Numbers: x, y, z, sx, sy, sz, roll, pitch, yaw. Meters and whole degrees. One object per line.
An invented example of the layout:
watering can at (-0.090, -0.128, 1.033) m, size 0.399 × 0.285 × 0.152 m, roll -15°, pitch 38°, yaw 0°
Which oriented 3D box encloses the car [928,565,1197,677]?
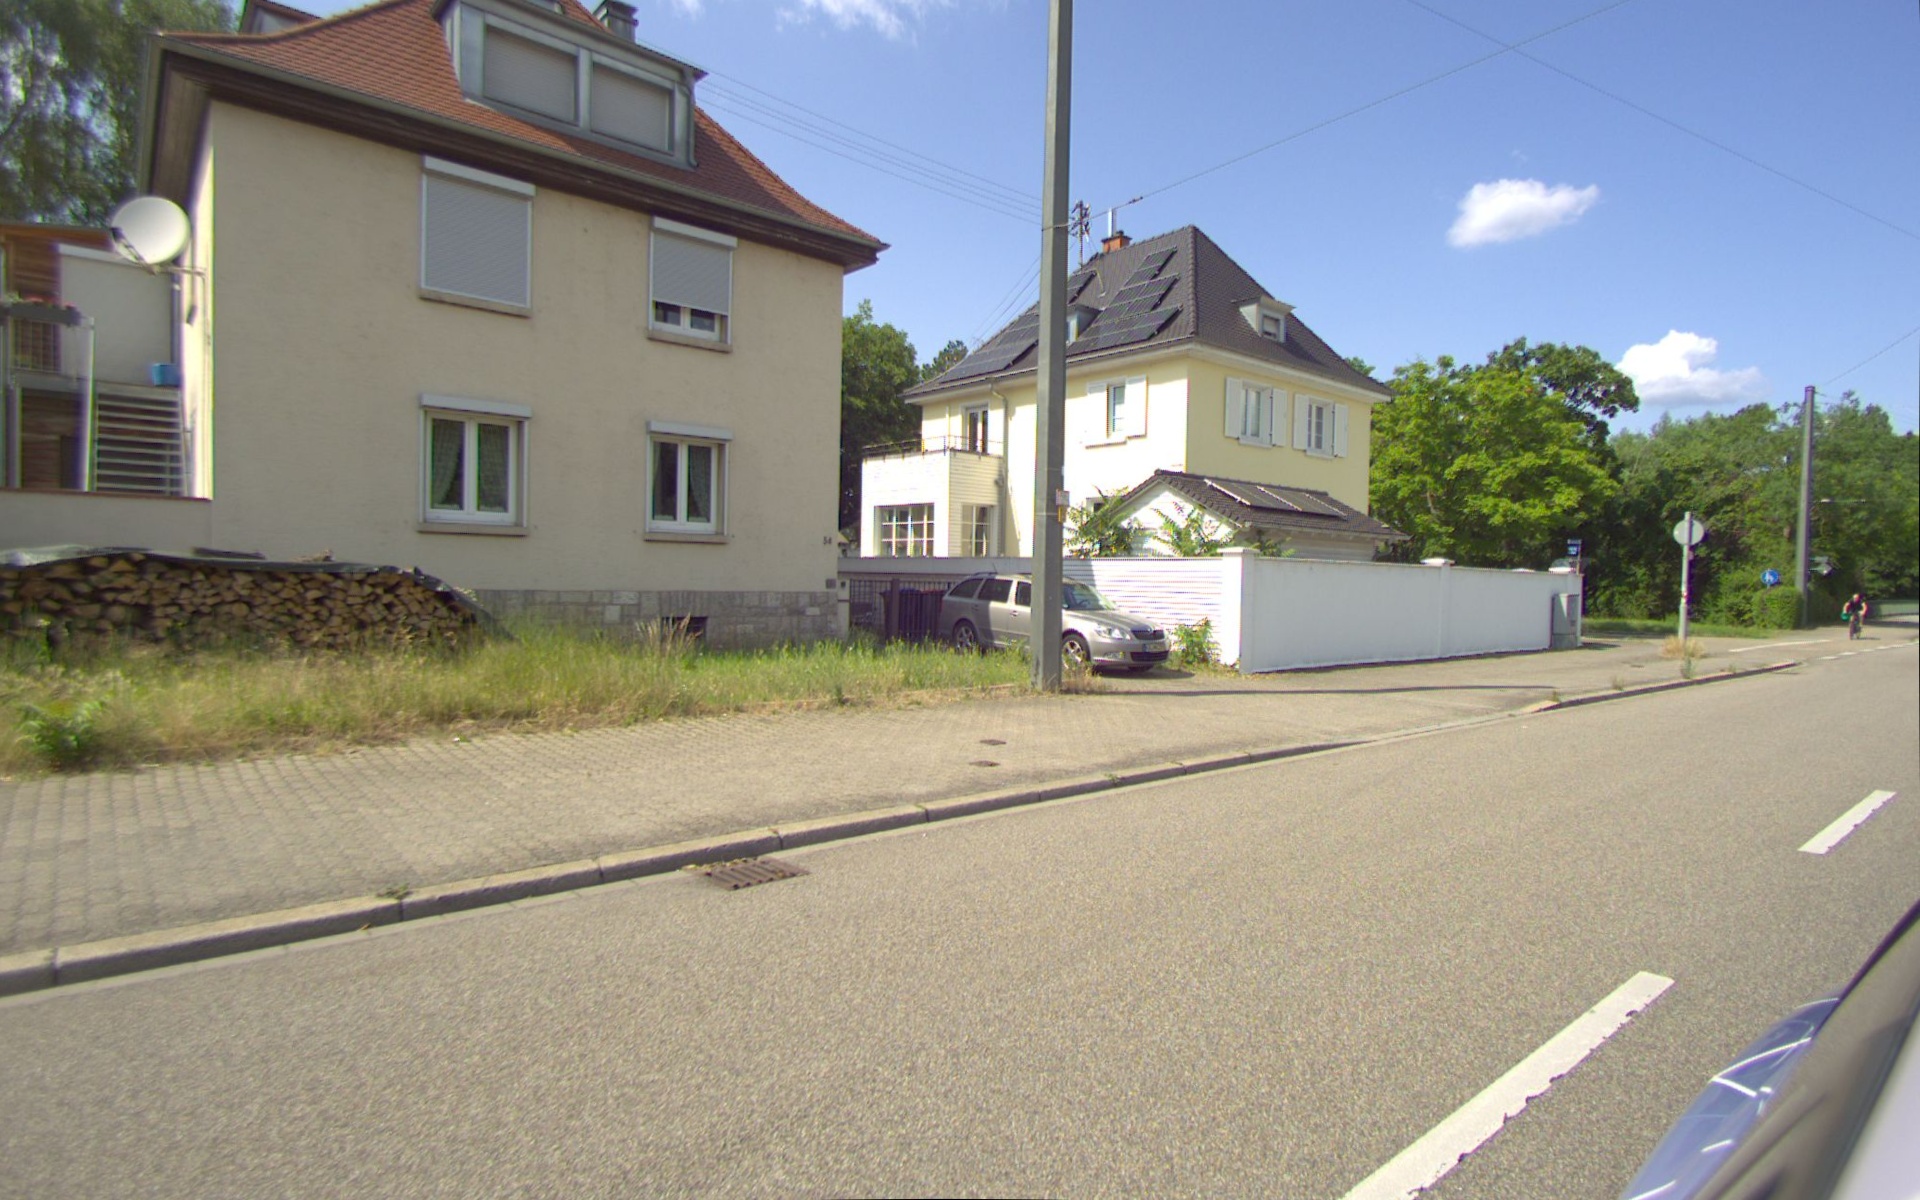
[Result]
car at (1.535, 0.241, 16.726) m, size 1.732 × 1.479 × 4.460 m, roll 0°, pitch 3°, yaw -40°

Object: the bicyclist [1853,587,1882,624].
bicyclist at (34.756, 0.204, 38.762) m, size 0.652 × 1.370 × 0.691 m, roll 0°, pitch 1°, yaw -34°

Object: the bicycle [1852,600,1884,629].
bicycle at (34.836, 0.547, 38.822) m, size 1.494 × 1.079 × 0.557 m, roll 0°, pitch 1°, yaw -34°
